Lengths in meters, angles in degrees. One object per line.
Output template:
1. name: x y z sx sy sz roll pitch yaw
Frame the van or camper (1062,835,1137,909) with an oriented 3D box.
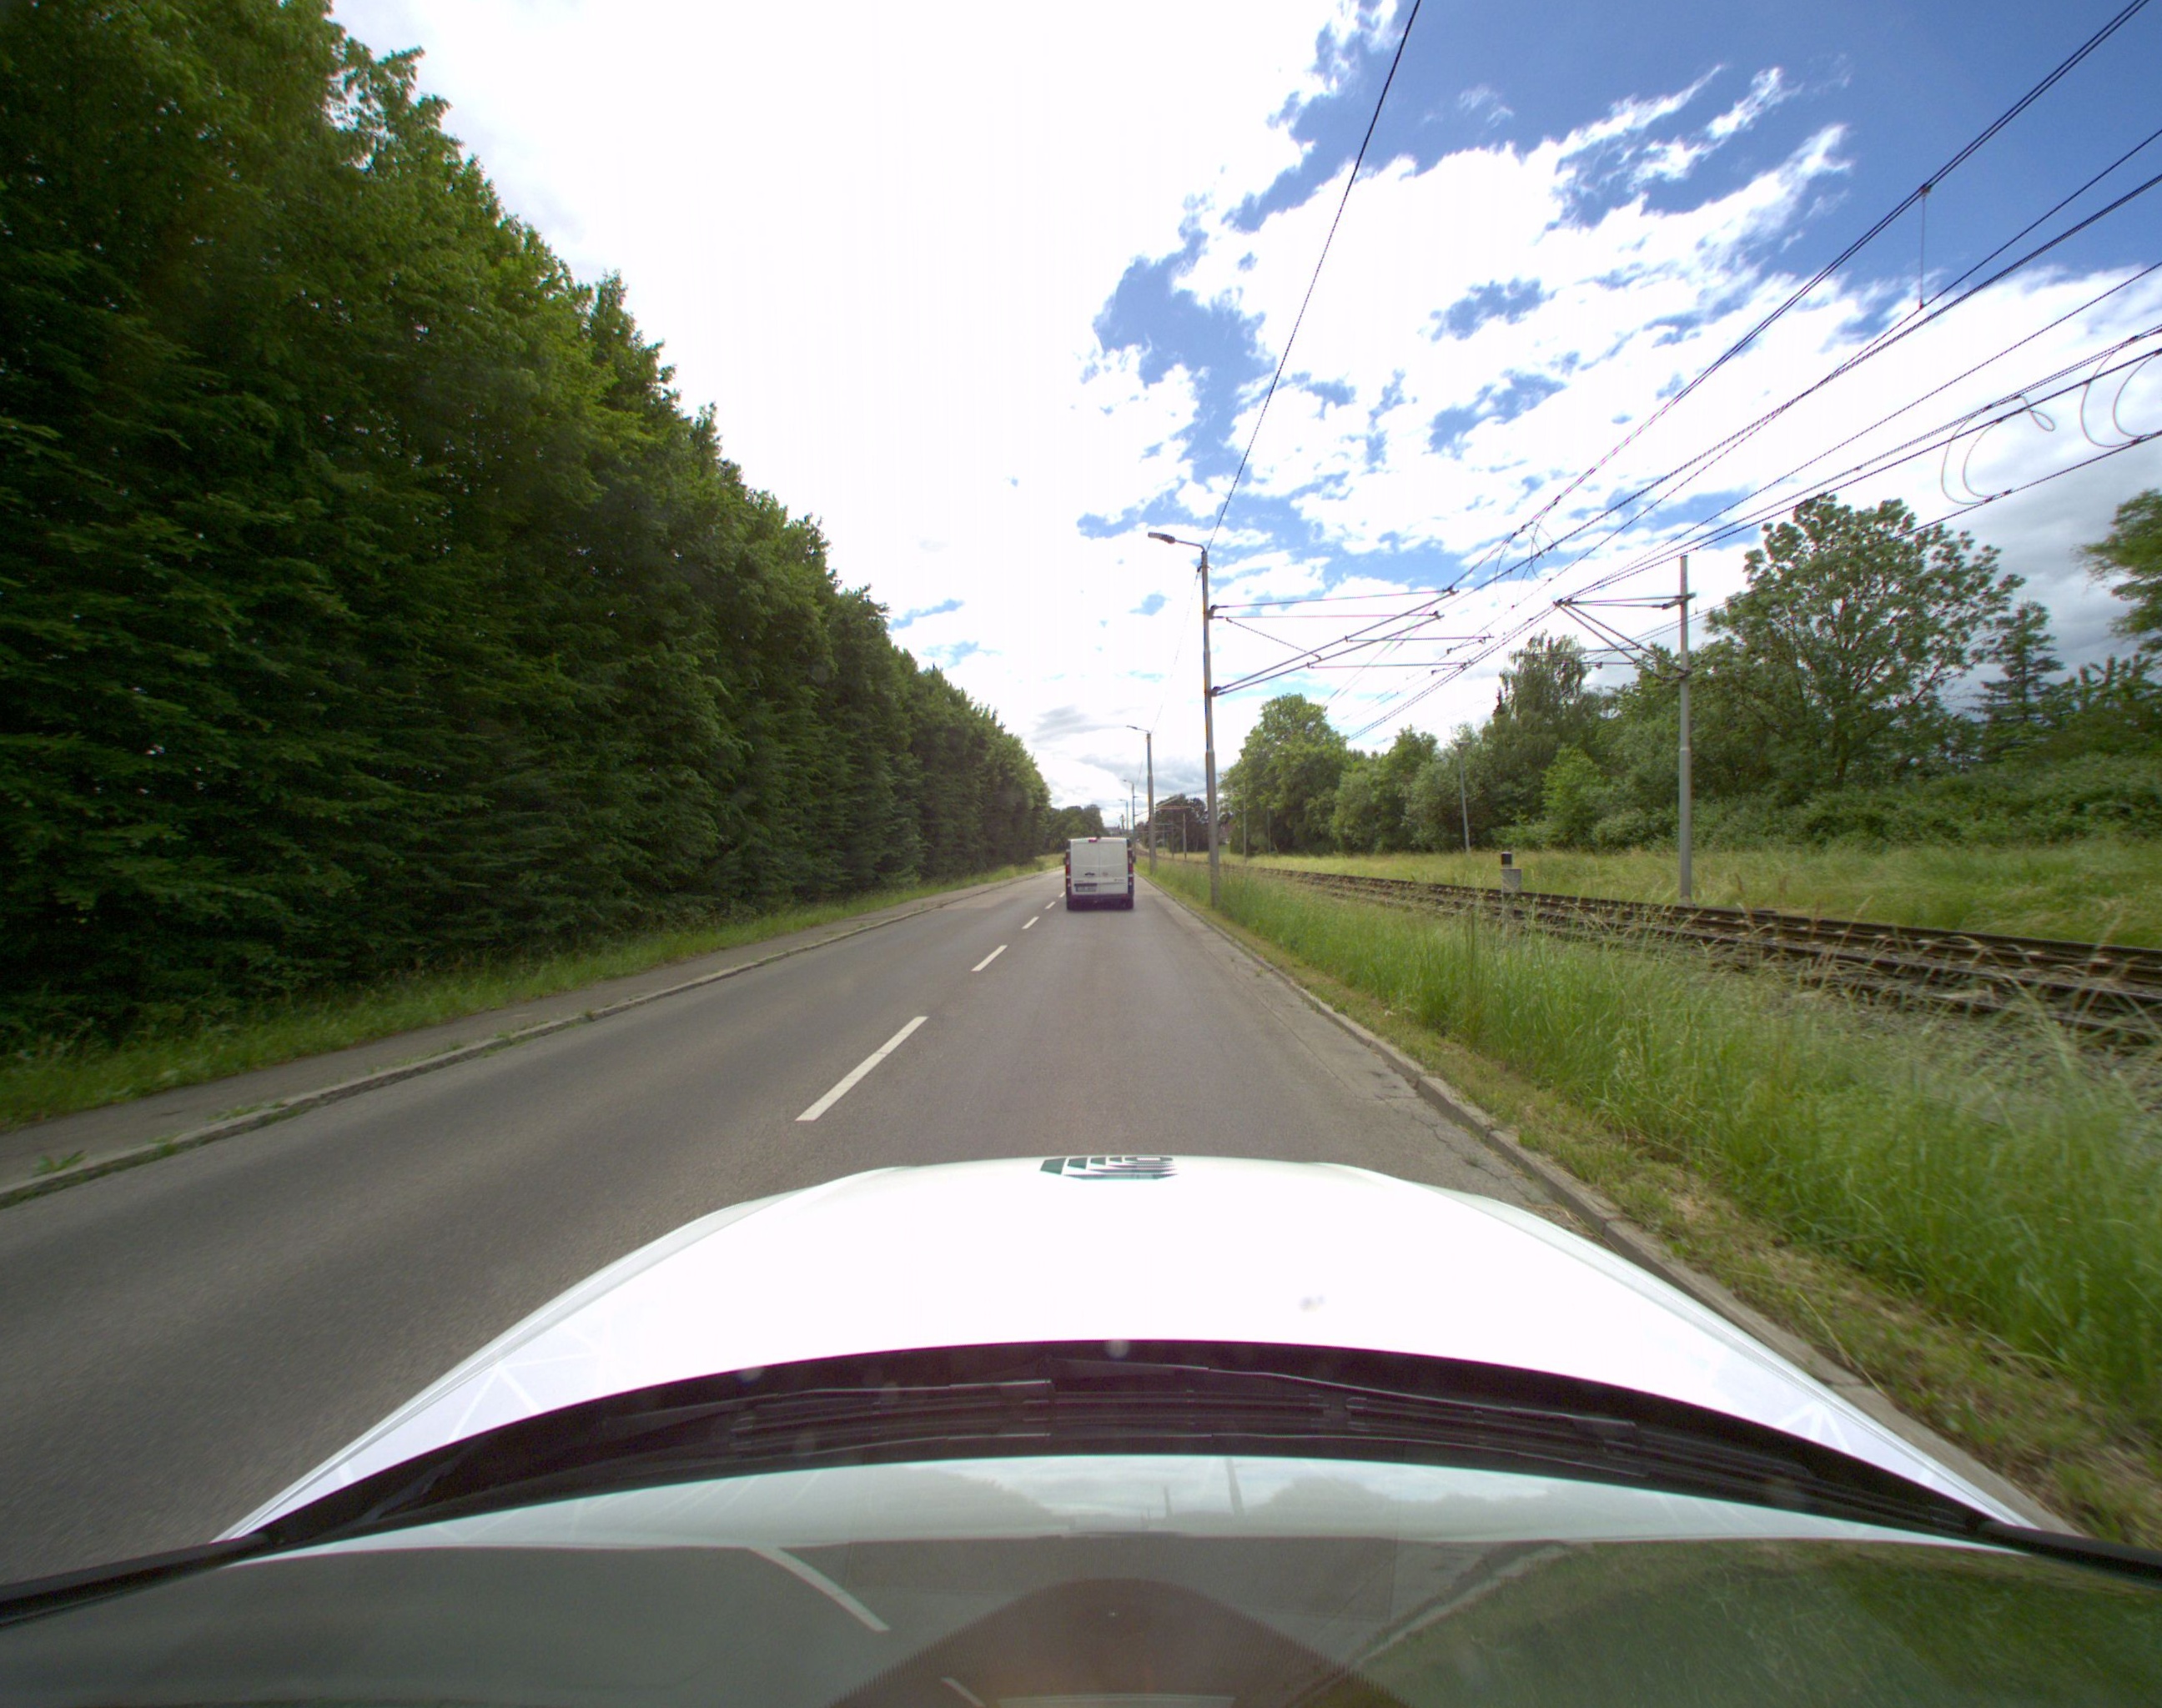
1. van or camper: 0.581 0.484 23.489 1.934 1.897 4.287 -1 -1 2
